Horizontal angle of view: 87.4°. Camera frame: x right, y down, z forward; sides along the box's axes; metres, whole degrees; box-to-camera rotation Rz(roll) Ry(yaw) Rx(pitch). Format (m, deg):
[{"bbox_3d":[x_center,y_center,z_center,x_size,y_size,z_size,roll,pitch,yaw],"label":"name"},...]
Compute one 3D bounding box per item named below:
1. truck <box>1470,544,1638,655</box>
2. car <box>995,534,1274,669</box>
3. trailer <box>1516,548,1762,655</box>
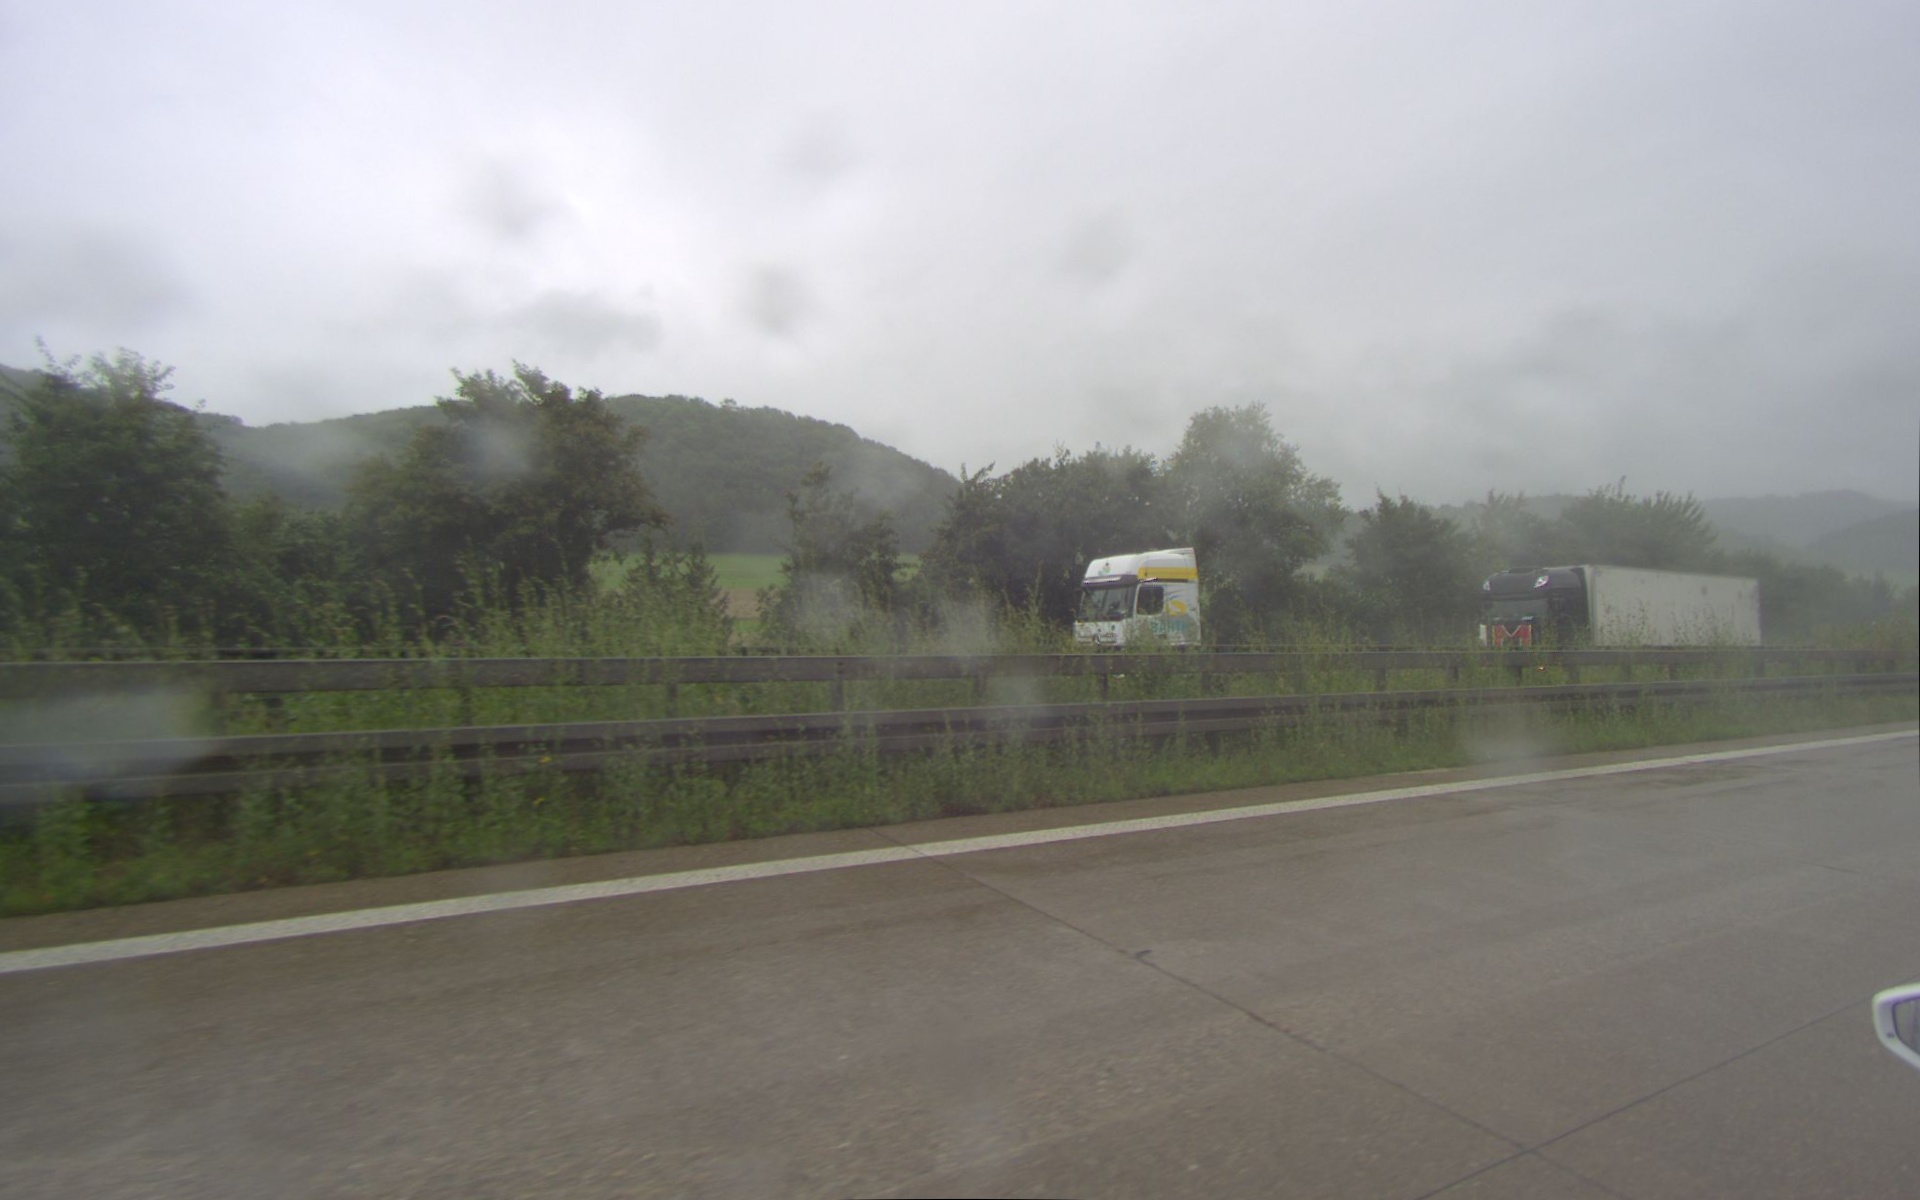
[{"bbox_3d":[20.649,0.037,34.883,5.669,3.556,2.798,1,-1,-33],"label":"truck"},{"bbox_3d":[4.857,0.115,27.432,7.512,3.286,2.785,1,-1,-30],"label":"car"},{"bbox_3d":[26.451,0.212,38.693,13.563,3.589,2.835,2,0,-33],"label":"trailer"}]
